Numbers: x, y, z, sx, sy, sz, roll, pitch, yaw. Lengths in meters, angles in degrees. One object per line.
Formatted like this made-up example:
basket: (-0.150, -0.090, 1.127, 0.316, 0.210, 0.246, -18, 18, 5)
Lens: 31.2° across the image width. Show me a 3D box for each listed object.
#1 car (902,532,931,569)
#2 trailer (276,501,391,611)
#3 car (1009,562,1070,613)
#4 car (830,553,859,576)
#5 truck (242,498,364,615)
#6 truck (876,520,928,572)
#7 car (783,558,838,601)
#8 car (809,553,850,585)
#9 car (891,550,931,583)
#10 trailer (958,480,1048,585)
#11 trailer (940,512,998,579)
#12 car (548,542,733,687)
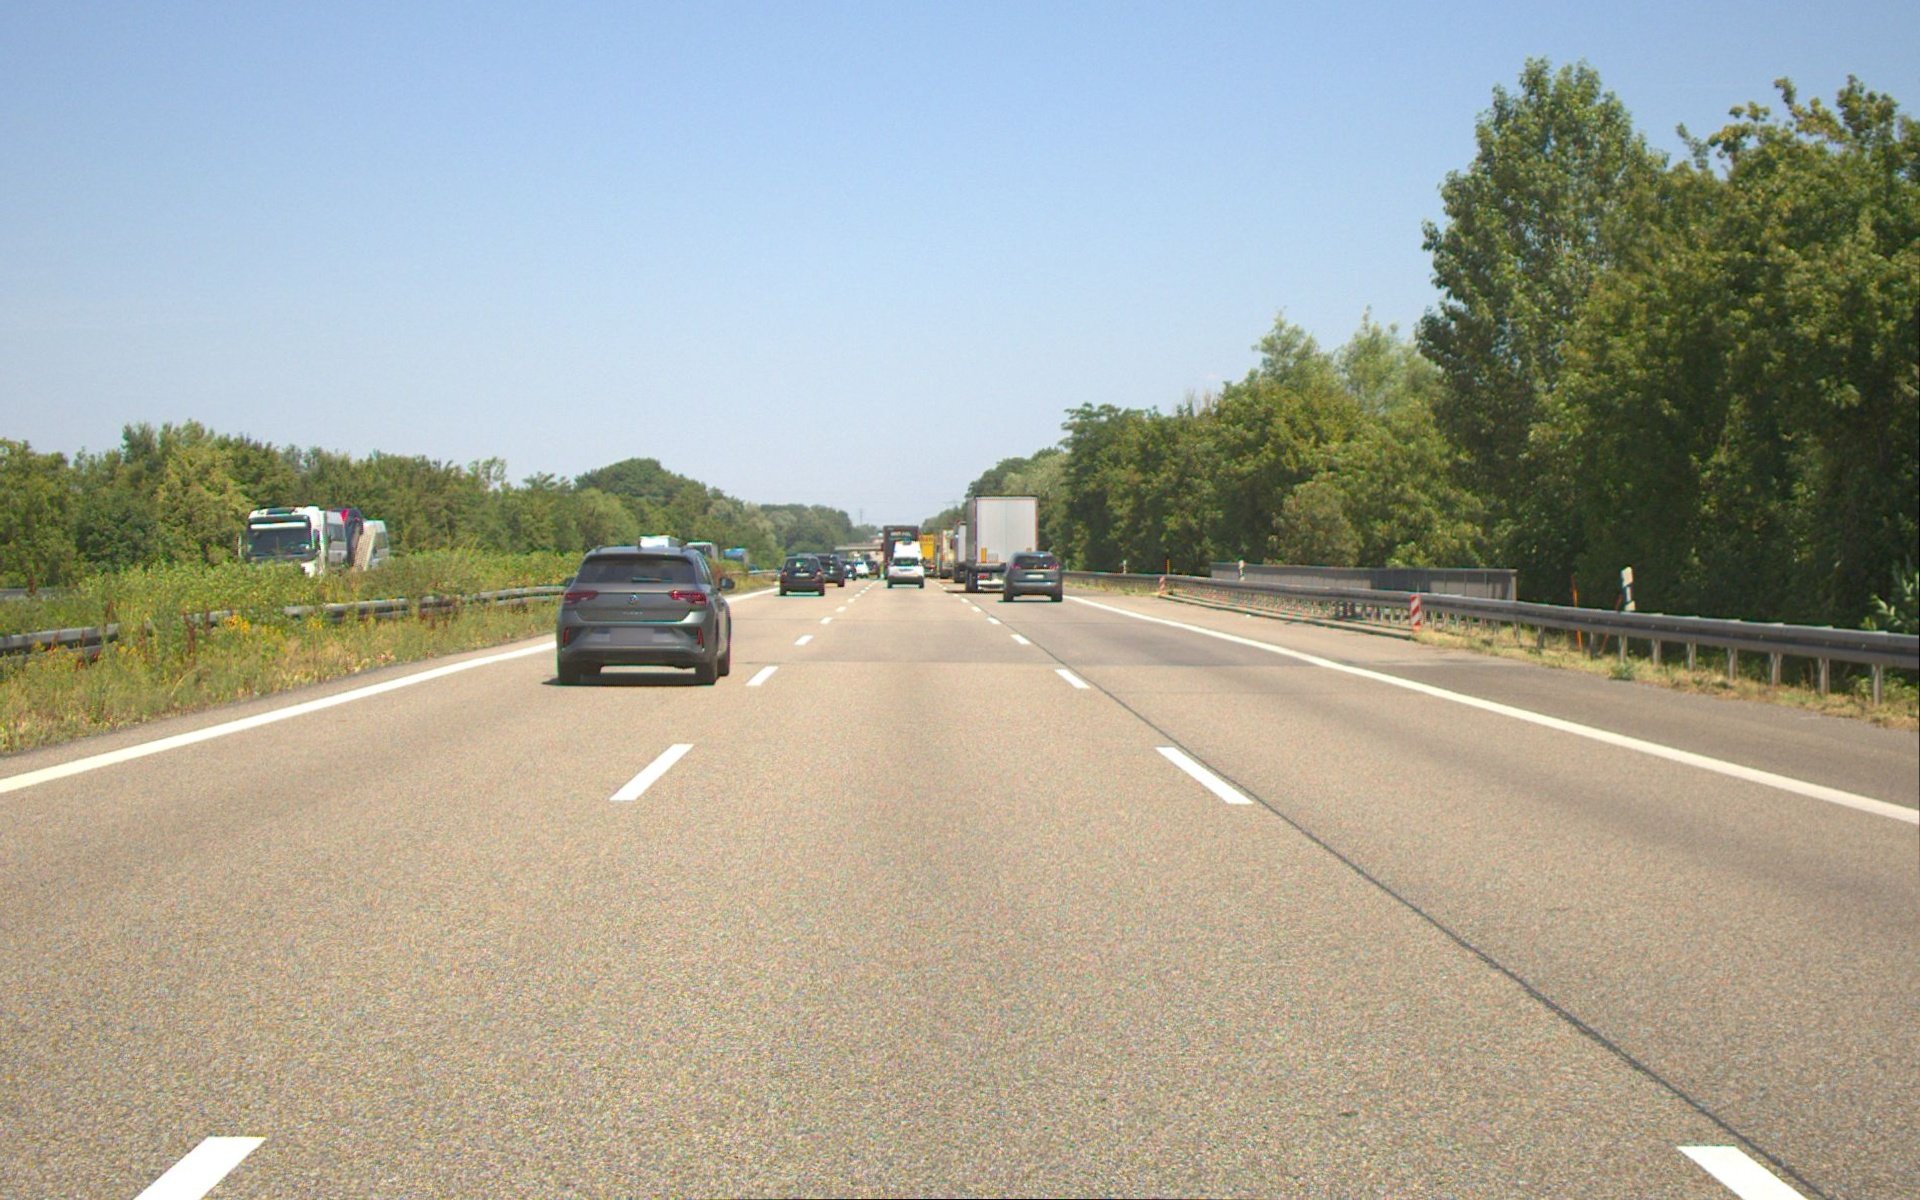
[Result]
car: (-2.942, -3.321, 230.736, 1.907, 2.417, 4.286, 1, 1, -1)
trailer: (-23.663, -1.709, 130.298, 2.925, 3.977, 9.660, 1, 1, -2)
car: (2.557, -0.416, 111.425, 1.845, 1.623, 4.135, 0, 1, -1)
car: (-8.056, -2.494, 239.771, 1.907, 1.525, 4.286, 1, 1, -1)
truck: (-23.376, -1.573, 122.764, 2.917, 3.977, 9.625, 1, 1, -3)
truck: (-4.257, -4.033, 254.986, 3.667, 3.713, 7.108, 1, 1, 0)
car: (-5.517, -0.772, 127.234, 1.900, 1.525, 4.084, 1, 1, -1)
car: (-6.526, -1.574, 172.133, 1.907, 1.525, 4.286, 1, 1, -1)
car: (-2.389, -1.643, 166.716, 1.900, 1.525, 4.084, 1, 1, -1)
trailer: (1.739, -2.738, 145.319, 3.434, 4.167, 13.633, 1, 0, -1)
trailer: (0.506, -3.285, 206.598, 3.122, 3.913, 9.937, 1, 1, -2)
car: (-3.616, 0.122, 39.497, 1.759, 1.525, 4.286, 1, 1, -1)
